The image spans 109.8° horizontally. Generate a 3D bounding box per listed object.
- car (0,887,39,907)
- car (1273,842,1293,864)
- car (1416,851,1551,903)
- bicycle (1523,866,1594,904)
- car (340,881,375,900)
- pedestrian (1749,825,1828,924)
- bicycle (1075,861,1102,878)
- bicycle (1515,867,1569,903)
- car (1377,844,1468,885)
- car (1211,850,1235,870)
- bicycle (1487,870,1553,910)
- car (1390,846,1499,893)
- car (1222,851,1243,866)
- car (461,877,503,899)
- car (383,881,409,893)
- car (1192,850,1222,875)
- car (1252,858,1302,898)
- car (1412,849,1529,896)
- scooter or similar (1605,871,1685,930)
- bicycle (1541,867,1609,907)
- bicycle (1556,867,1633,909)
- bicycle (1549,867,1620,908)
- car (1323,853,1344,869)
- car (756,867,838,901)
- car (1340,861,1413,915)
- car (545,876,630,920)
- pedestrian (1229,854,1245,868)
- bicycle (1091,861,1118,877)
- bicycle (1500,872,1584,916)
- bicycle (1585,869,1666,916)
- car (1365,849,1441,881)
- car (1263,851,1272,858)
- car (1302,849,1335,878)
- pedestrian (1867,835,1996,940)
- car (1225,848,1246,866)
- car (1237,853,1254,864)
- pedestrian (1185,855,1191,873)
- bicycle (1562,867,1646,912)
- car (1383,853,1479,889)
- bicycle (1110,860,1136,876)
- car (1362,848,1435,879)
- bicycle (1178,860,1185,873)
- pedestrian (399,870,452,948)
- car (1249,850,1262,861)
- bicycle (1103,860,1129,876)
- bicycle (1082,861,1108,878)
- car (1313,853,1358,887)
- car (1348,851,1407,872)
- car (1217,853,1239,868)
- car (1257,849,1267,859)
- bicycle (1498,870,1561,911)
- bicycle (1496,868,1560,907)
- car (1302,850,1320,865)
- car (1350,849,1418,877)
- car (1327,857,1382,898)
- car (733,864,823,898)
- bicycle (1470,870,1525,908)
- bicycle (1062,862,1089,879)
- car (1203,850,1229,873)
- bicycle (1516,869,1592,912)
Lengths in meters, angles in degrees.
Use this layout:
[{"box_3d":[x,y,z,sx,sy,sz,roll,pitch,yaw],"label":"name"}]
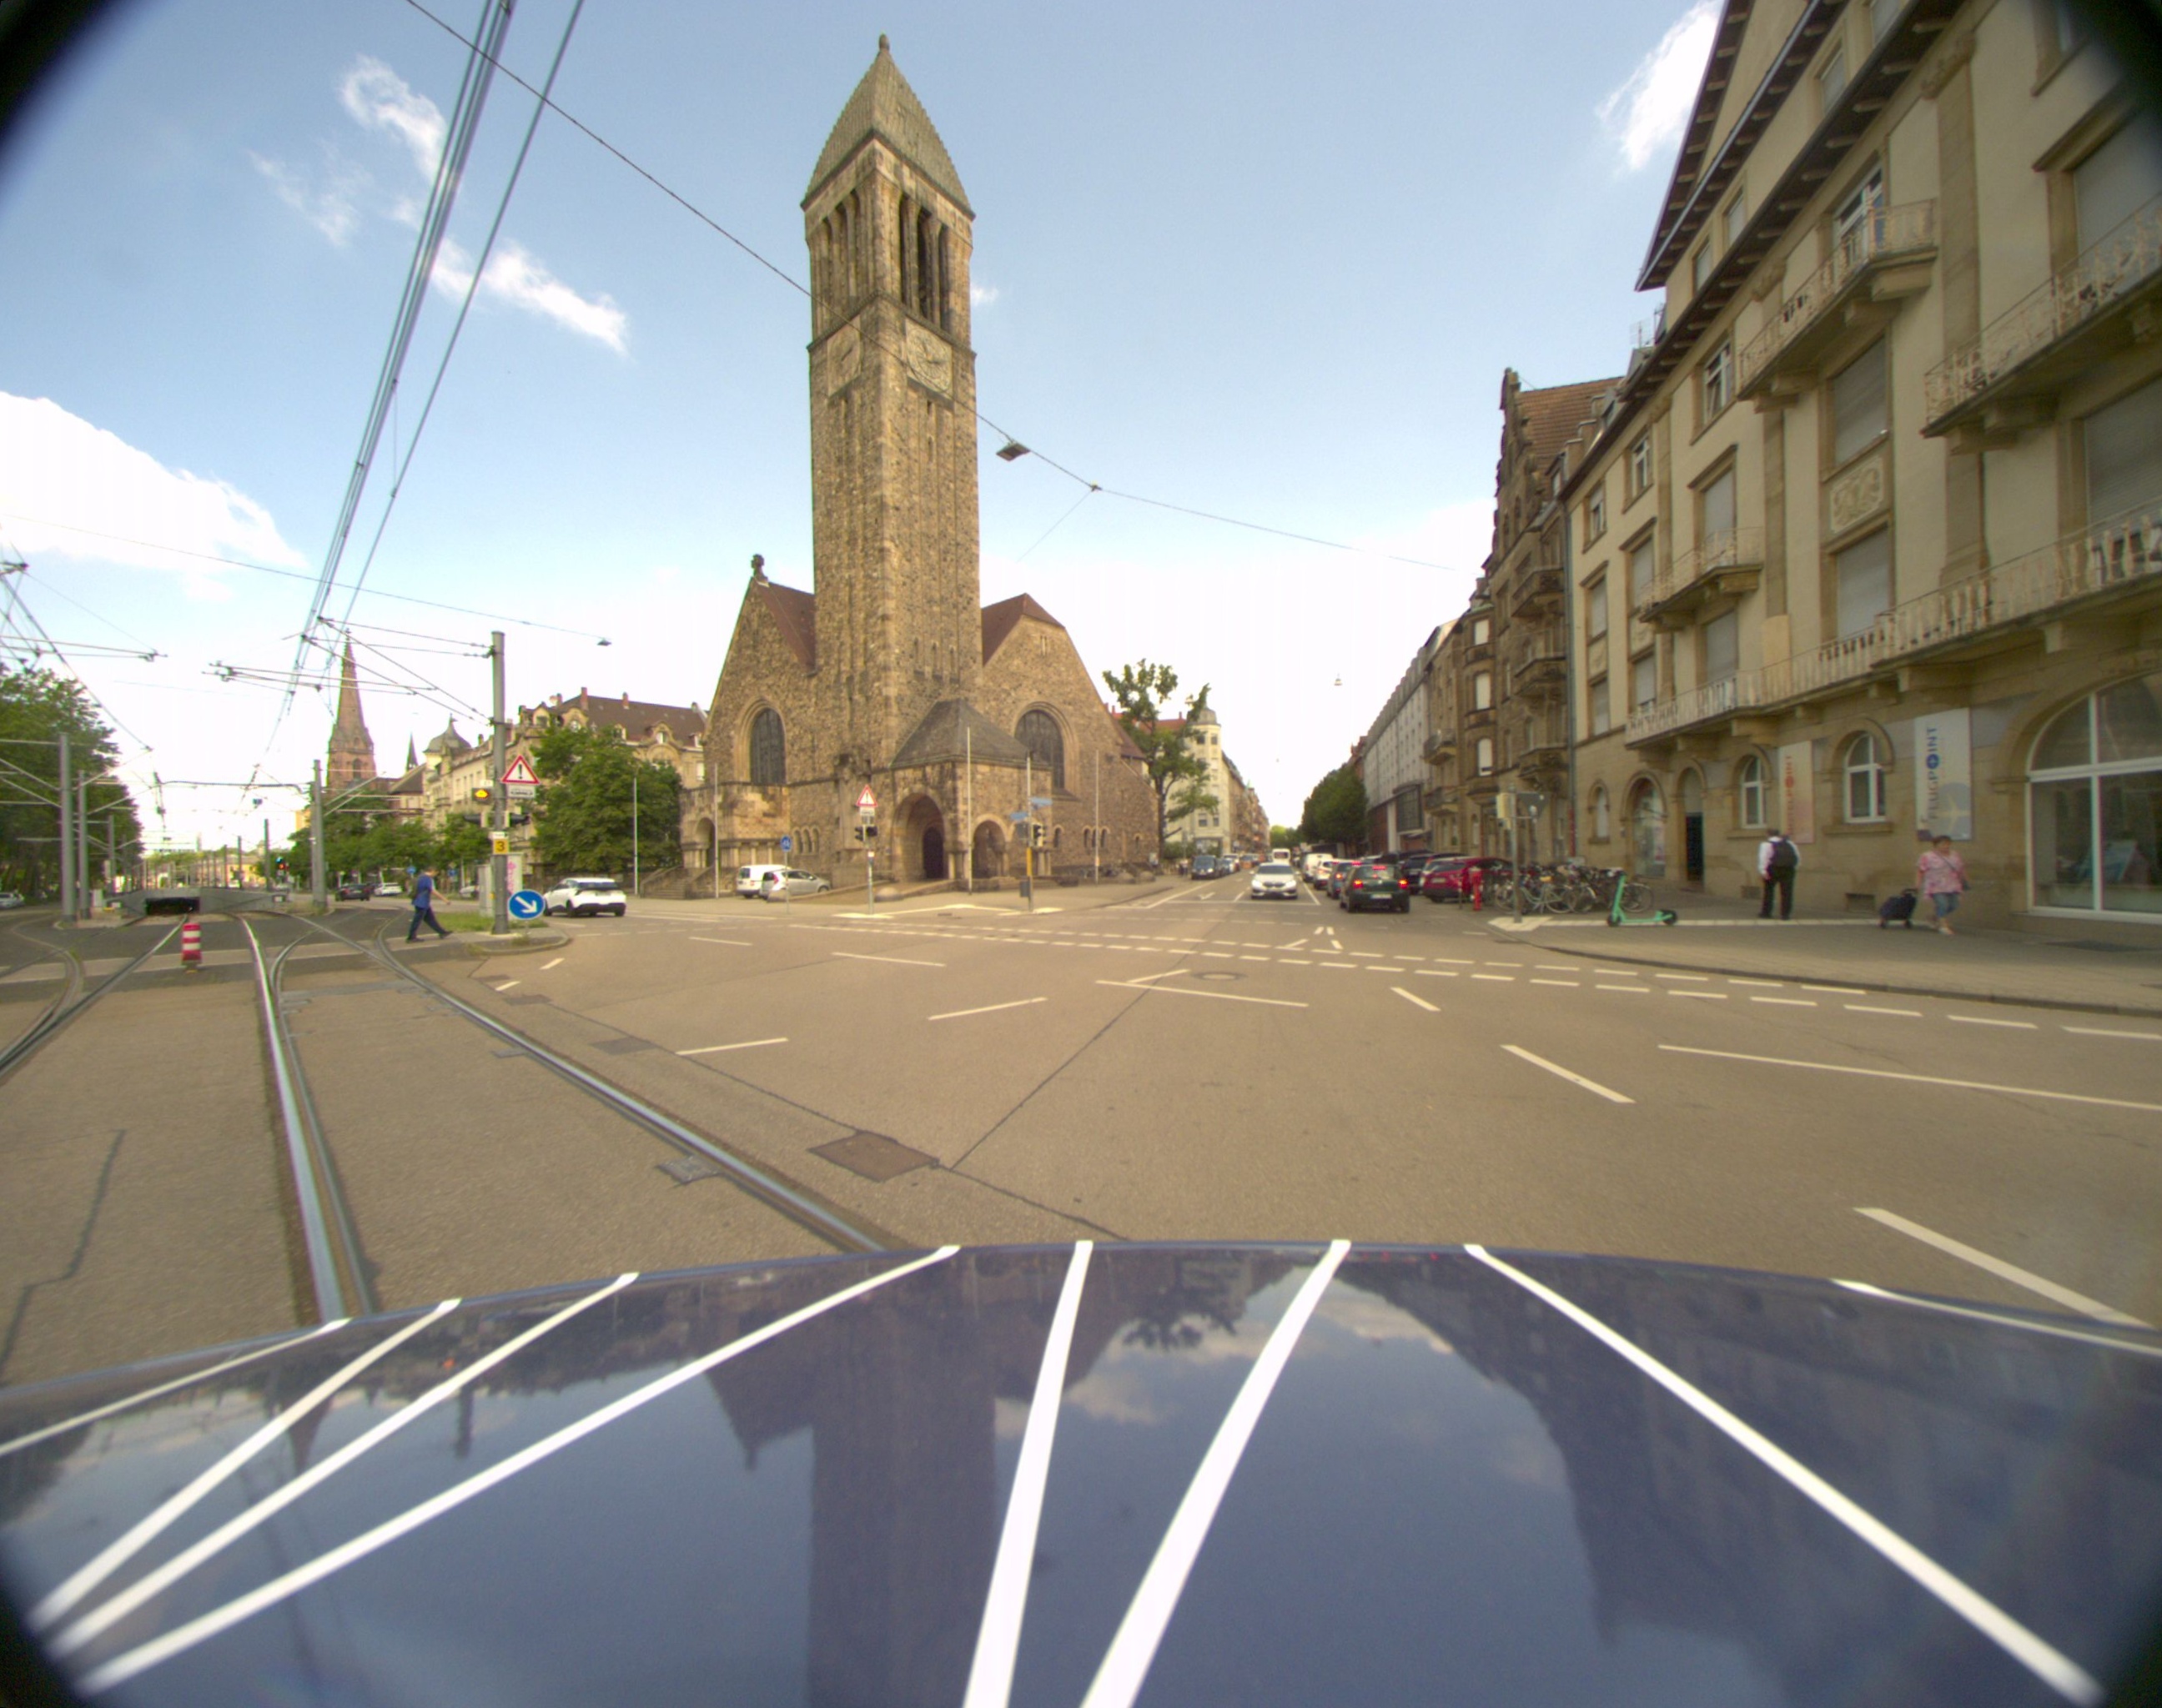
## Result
[{"box_3d":[-99.414,4.027,71.130,3.988,1.621,1.807,0,1,41],"label":"car"},{"box_3d":[23.275,-0.056,87.644,2.079,2.430,5.953,1,-1,15],"label":"car"},{"box_3d":[13.516,0.758,25.540,4.004,1.448,1.809,-3,-1,-22],"label":"car"},{"box_3d":[14.007,0.916,22.316,1.629,1.045,0.558,-3,0,15],"label":"bicycle"},{"box_3d":[-62.015,3.106,65.125,4.373,1.525,1.789,-1,-1,41],"label":"car"},{"box_3d":[13.790,0.389,14.846,0.803,1.850,0.906,-2,3,16],"label":"pedestrian"},{"box_3d":[0.560,1.115,54.678,1.933,1.106,0.588,3,3,37],"label":"bicycle"},{"box_3d":[14.677,0.966,24.168,1.907,1.045,0.557,-2,0,-29],"label":"bicycle"},{"box_3d":[17.096,0.519,38.090,3.957,1.857,1.729,-3,0,-18],"label":"car"},{"box_3d":[12.741,0.509,68.230,1.681,1.780,4.005,-1,0,17],"label":"car"},{"box_3d":[12.129,1.002,21.021,1.481,1.045,0.463,-3,0,16],"label":"bicycle"},{"box_3d":[14.969,0.643,31.308,3.958,1.679,1.800,-3,-1,-24],"label":"car"},{"box_3d":[15.552,0.493,77.833,1.681,1.487,3.895,-1,0,17],"label":"car"},{"box_3d":[-45.556,2.558,57.769,3.826,1.486,1.793,-1,0,41],"label":"car"},{"box_3d":[-73.207,3.516,81.191,3.055,1.226,1.659,-1,0,41],"label":"car"},{"box_3d":[9.494,0.605,56.975,1.681,1.780,4.150,-1,0,17],"label":"car"},{"box_3d":[8.194,0.935,31.571,1.824,1.439,4.391,1,0,17],"label":"car"},{"box_3d":[14.534,0.695,28.326,3.959,1.448,1.728,-3,-1,-25],"label":"car"},{"box_3d":[11.436,0.954,15.445,1.250,1.139,0.482,-3,0,33],"label":"scooter or similar"},{"box_3d":[13.749,0.908,21.158,1.482,1.045,0.463,-3,0,13],"label":"bicycle"},{"box_3d":[13.399,0.893,19.870,1.579,1.045,0.481,-3,0,23],"label":"bicycle"},{"box_3d":[13.628,0.897,20.589,1.481,1.045,0.463,-3,0,17],"label":"bicycle"},{"box_3d":[25.562,0.683,77.135,1.889,1.556,3.895,-1,0,17],"label":"car"},{"box_3d":[-14.922,1.571,40.101,1.814,1.668,3.646,-2,-2,37],"label":"car"},{"box_3d":[8.935,0.962,23.221,1.715,1.425,3.822,0,1,16],"label":"car"},{"box_3d":[-19.055,1.632,29.273,4.119,1.497,1.824,-1,0,44],"label":"car"},{"box_3d":[19.149,0.863,93.474,1.316,1.747,1.371,-1,0,-28],"label":"pedestrian"},{"box_3d":[1.734,1.089,55.939,1.933,1.106,0.588,3,3,37],"label":"bicycle"},{"box_3d":[11.621,1.011,19.189,1.732,1.045,0.532,-3,-1,32],"label":"bicycle"},{"box_3d":[12.783,0.918,17.873,1.440,1.045,0.481,-3,0,25],"label":"bicycle"},{"box_3d":[18.526,0.636,43.715,3.958,1.576,1.728,-4,0,-24],"label":"car"},{"box_3d":[43.602,0.091,177.753,1.807,1.756,4.191,-1,0,17],"label":"car"},{"box_3d":[15.130,0.620,48.583,1.814,1.765,4.289,0,-1,15],"label":"car"},{"box_3d":[13.827,0.533,12.402,0.942,1.585,0.997,-4,-1,16],"label":"pedestrian"},{"box_3d":[16.736,0.297,82.215,1.842,1.927,4.191,-1,0,17],"label":"car"},{"box_3d":[21.606,0.552,99.773,1.807,1.360,4.191,-1,0,17],"label":"car"},{"box_3d":[8.478,0.784,60.320,0.465,1.447,0.557,-1,0,11],"label":"pedestrian"},{"box_3d":[13.017,0.883,18.952,1.610,1.045,0.481,-3,0,23],"label":"bicycle"},{"box_3d":[16.269,0.803,35.340,3.958,1.420,1.729,-3,-2,-22],"label":"car"},{"box_3d":[3.164,1.053,57.822,1.933,1.106,0.588,3,3,37],"label":"bicycle"},{"box_3d":[19.400,0.588,46.408,3.958,1.576,1.728,-4,0,-24],"label":"car"},{"box_3d":[8.018,0.982,60.449,0.480,1.046,1.444,-1,0,10],"label":"bicycle"},{"box_3d":[-15.008,1.229,17.394,0.741,1.721,0.774,0,1,40],"label":"pedestrian"},{"box_3d":[29.041,0.309,126.489,1.807,1.756,4.191,-1,0,17],"label":"car"},{"box_3d":[2.641,1.066,57.208,1.933,1.106,0.588,3,3,37],"label":"bicycle"},{"box_3d":[1.005,1.104,55.242,1.933,1.106,0.588,3,3,37],"label":"bicycle"},{"box_3d":[12.885,0.755,38.603,1.773,1.573,4.024,-2,0,13],"label":"car"},{"box_3d":[21.635,0.532,55.408,3.959,1.465,1.728,-1,0,-24],"label":"car"},{"box_3d":[14.062,0.602,72.777,1.681,1.438,3.803,-1,0,17],"label":"car"},{"box_3d":[36.820,-0.053,154.393,1.807,1.901,4.191,-1,0,17],"label":"car"},{"box_3d":[12.132,0.988,20.576,1.370,1.045,0.418,-3,-1,14],"label":"bicycle"},{"box_3d":[12.913,0.965,21.990,1.482,1.045,0.463,-3,0,12],"label":"bicycle"},{"box_3d":[25.827,0.383,85.227,1.889,1.641,3.895,-1,0,17],"label":"car"},{"box_3d":[19.839,0.585,49.726,3.958,1.576,1.728,-3,-1,-24],"label":"car"},{"box_3d":[11.018,0.883,30.817,1.749,1.531,3.936,0,0,15],"label":"car"},{"box_3d":[-17.038,1.496,42.873,1.994,1.842,4.315,-2,-2,40],"label":"car"},{"box_3d":[12.602,1.047,22.986,1.815,1.045,0.557,-2,0,-30],"label":"bicycle"},{"box_3d":[-0.375,1.139,53.405,1.933,1.106,0.588,3,3,37],"label":"bicycle"},{"box_3d":[11.057,0.614,62.122,1.681,1.780,4.005,-1,0,17],"label":"car"},{"box_3d":[12.264,0.951,19.750,1.579,1.045,0.481,-3,0,23],"label":"bicycle"}]
